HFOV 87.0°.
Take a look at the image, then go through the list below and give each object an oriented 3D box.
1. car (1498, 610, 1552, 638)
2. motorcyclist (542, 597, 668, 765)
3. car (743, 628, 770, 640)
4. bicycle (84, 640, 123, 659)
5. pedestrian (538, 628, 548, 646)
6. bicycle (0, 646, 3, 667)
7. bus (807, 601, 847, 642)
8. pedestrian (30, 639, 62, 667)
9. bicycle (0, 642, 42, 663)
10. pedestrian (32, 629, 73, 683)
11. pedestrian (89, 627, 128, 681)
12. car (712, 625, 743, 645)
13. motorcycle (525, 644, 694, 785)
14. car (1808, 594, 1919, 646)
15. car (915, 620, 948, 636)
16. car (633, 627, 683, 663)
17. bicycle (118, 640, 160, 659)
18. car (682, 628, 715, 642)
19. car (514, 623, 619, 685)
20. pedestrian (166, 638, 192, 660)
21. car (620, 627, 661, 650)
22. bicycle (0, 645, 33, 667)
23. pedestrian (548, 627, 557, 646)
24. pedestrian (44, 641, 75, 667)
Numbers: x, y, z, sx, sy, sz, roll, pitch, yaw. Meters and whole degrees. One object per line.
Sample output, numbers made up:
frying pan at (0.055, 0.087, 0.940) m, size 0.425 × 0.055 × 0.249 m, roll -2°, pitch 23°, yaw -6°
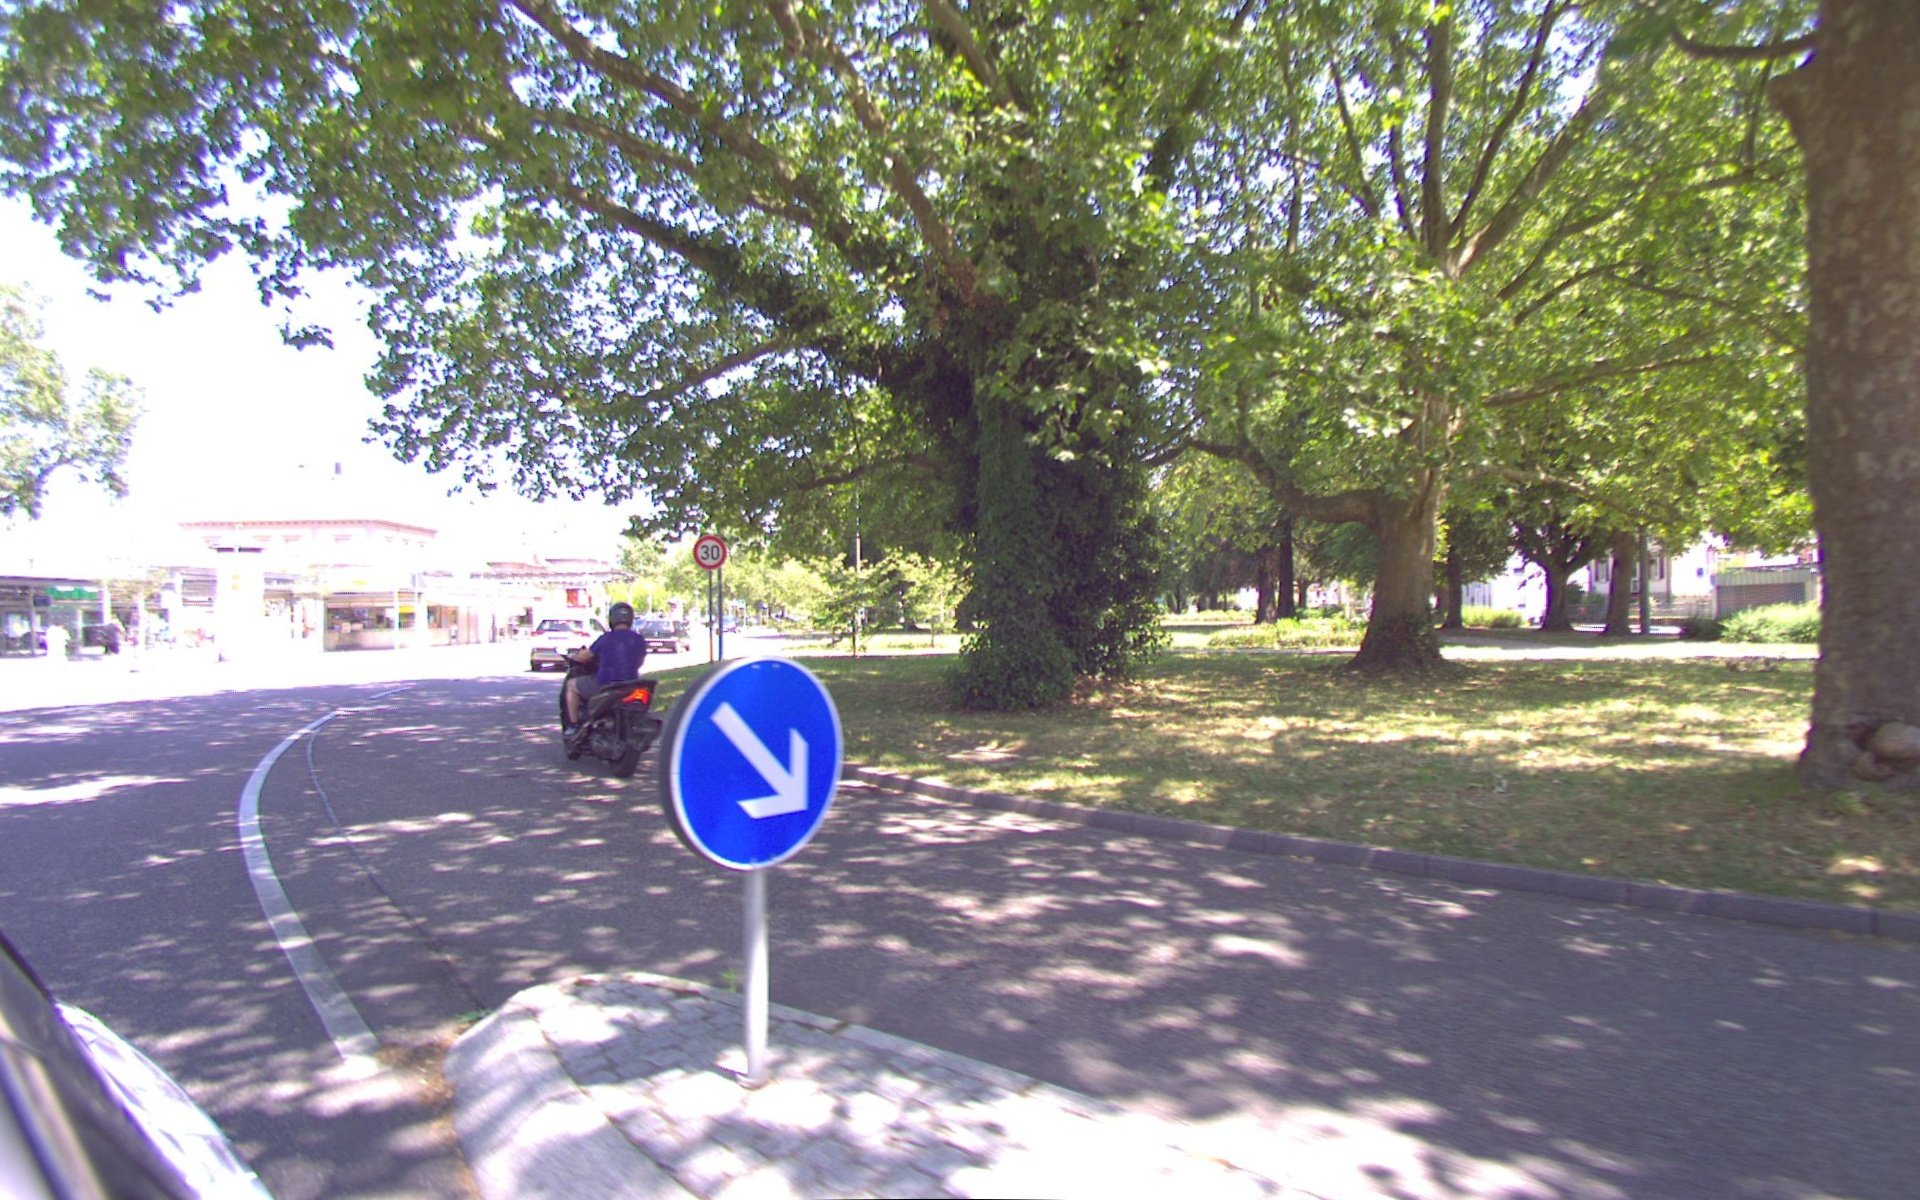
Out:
car at (37.999, 1.590, 68.197) m, size 1.981 × 1.792 × 4.485 m, roll -2°, pitch -1°, yaw 14°
motorcyclist at (-3.579, 0.776, 10.174) m, size 0.798 × 1.567 × 1.105 m, roll 0°, pitch -2°, yaw -44°
car at (-30.312, 5.013, 150.789) m, size 3.935 × 1.677 × 2.004 m, roll -1°, pitch -1°, yaw -10°
bicycle at (-55.110, 3.172, 65.136) m, size 0.661 × 1.081 × 2.170 m, roll 1°, pitch 2°, yaw 0°
pedestrian at (-28.280, 2.517, 68.684) m, size 0.484 × 1.220 × 0.471 m, roll -2°, pitch -1°, yaw 3°
bicycle at (-50.436, 2.908, 51.787) m, size 2.136 × 1.081 × 0.671 m, roll 0°, pitch 2°, yaw -6°
bus at (-11.727, 1.958, 90.108) m, size 2.774 × 3.328 × 11.868 m, roll -1°, pitch -1°, yaw -4°
pedestrian at (-48.007, 2.781, 53.184) m, size 0.949 × 1.396 × 0.831 m, roll -1°, pitch -1°, yaw -2°
bicycle at (-55.155, 3.068, 59.108) m, size 2.132 × 1.081 × 0.866 m, roll 0°, pitch 2°, yaw -21°
pedestrian at (-30.194, 1.841, 33.668) m, size 0.674 × 1.749 × 0.904 m, roll -3°, pitch -2°, yaw 36°
pedestrian at (-29.287, 1.843, 34.806) m, size 0.694 × 1.798 × 0.903 m, roll -3°, pitch -2°, yaw 37°
car at (-18.840, 2.806, 82.118) m, size 1.753 × 1.557 × 4.186 m, roll 0°, pitch -1°, yaw -3°
motorcycle at (-3.543, 1.075, 10.121) m, size 0.798 × 1.241 × 2.052 m, roll 0°, pitch -2°, yaw -44°
car at (34.159, 0.715, 37.440) m, size 1.975 × 1.792 × 4.498 m, roll -2°, pitch -1°, yaw 5°
car at (-3.504, 3.417, 123.077) m, size 3.943 × 1.817 × 2.000 m, roll -2°, pitch -1°, yaw 0°
car at (-12.654, 1.880, 42.605) m, size 1.619 × 1.428 × 4.009 m, roll 0°, pitch -2°, yaw -11°
bicycle at (-51.522, 3.116, 63.503) m, size 2.140 × 1.081 × 0.670 m, roll 1°, pitch 2°, yaw 1°
car at (-33.953, 4.549, 131.521) m, size 3.938 × 1.677 × 2.003 m, roll -1°, pitch -1°, yaw -6°
car at (-11.872, 1.622, 30.813) m, size 2.017 × 1.761 × 4.330 m, roll 0°, pitch -3°, yaw -8°
pedestrian at (-48.867, 3.078, 63.325) m, size 0.949 × 1.315 × 0.831 m, roll -1°, pitch -1°, yaw -2°
car at (-22.249, 2.672, 70.623) m, size 1.753 × 1.557 × 4.186 m, roll 0°, pitch -1°, yaw -3°
bicycle at (-50.494, 2.974, 53.564) m, size 2.136 × 1.081 × 0.671 m, roll 0°, pitch 2°, yaw -6°
pedestrian at (-27.762, 2.490, 68.969) m, size 0.496 × 1.241 × 0.514 m, roll -1°, pitch -1°, yaw -9°
pedestrian at (-48.115, 2.875, 54.078) m, size 0.949 × 1.315 × 0.831 m, roll -1°, pitch -1°, yaw -2°
